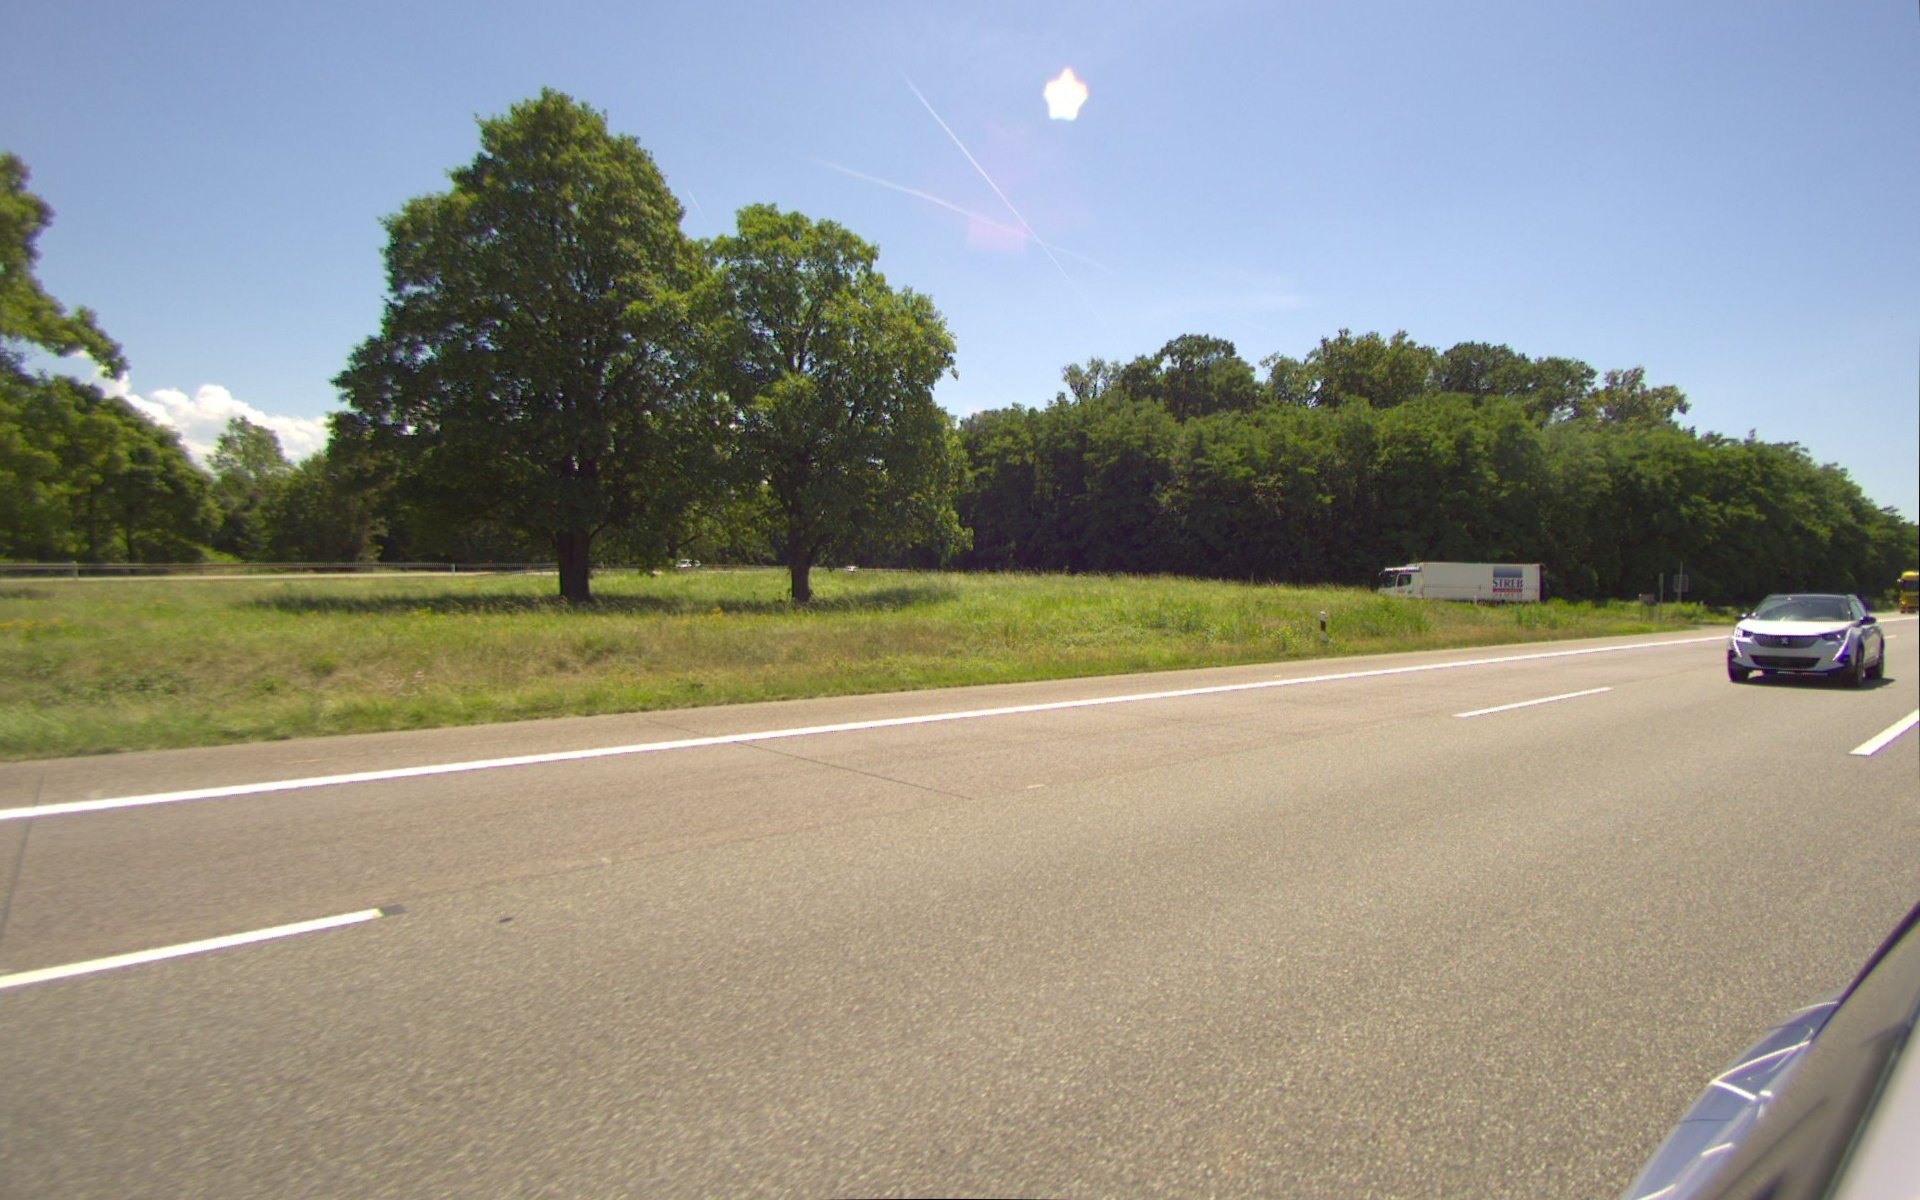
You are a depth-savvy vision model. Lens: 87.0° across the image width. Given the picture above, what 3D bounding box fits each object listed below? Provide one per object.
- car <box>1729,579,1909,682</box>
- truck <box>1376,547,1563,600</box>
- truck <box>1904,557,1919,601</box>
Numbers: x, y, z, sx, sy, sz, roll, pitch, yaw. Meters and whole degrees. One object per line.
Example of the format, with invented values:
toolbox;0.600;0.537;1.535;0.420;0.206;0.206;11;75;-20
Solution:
car;15.621;0.448;18.306;4.725;1.628;1.830;0;1;-41
truck;32.923;-1.712;65.664;10.565;3.361;3.038;0;0;0
truck;94.621;-2.036;98.223;10.786;4.088;2.980;0;-1;-40
